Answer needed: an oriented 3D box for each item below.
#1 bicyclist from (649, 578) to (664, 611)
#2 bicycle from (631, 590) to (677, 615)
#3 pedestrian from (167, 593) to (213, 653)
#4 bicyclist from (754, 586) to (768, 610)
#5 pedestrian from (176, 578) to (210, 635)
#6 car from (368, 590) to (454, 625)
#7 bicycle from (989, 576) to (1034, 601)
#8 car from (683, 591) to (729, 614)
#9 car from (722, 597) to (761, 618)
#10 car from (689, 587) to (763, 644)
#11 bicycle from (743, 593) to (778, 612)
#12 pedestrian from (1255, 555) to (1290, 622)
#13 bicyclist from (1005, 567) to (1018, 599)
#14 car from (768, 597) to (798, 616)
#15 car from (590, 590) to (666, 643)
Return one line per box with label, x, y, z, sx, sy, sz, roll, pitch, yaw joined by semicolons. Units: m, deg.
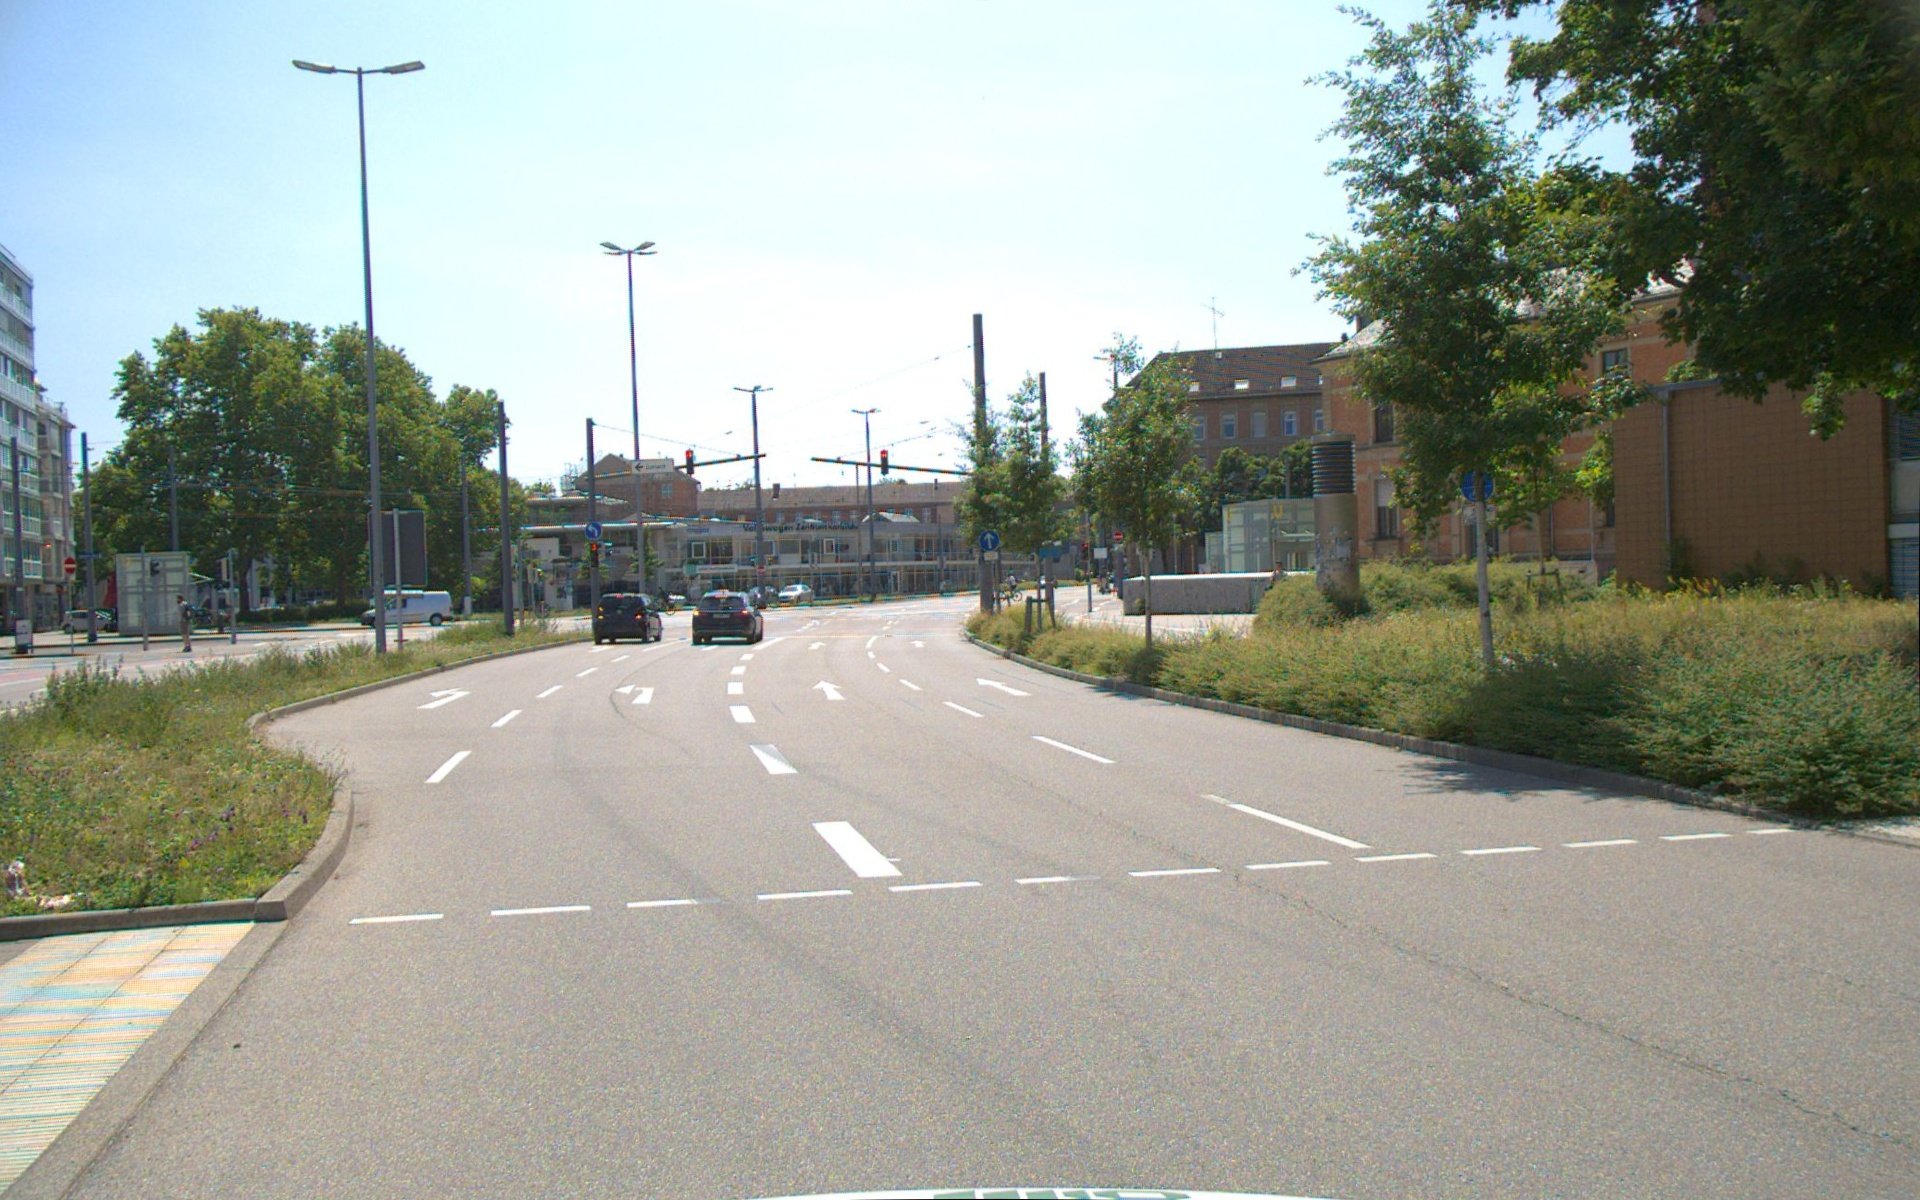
bicyclist;-18.550;-0.328;101.247;0.830;1.999;0.625;-2;2;-10
bicycle;-18.726;0.165;101.226;2.724;1.409;0.669;-2;2;-10
pedestrian;-26.374;0.766;56.645;1.157;1.966;0.901;-1;2;-9
bicyclist;-12.810;-0.142;106.319;0.721;1.505;0.652;-2;2;-21
pedestrian;-41.223;0.351;88.945;1.190;2.988;1.335;-1;2;-5
car;-29.454;0.385;88.743;4.247;1.655;1.803;-2;3;-22
bicycle;3.285;-0.714;105.109;2.770;1.488;0.633;-1;2;-4
car;-17.388;0.166;113.409;1.585;1.414;4.128;-2;1;15
car;-15.608;0.524;118.397;1.505;1.300;3.542;0;3;15
car;-6.946;0.425;49.444;1.682;1.584;4.585;-2;1;-2
bicycle;-12.827;0.164;106.313;2.129;1.126;0.454;-2;3;-20
pedestrian;8.228;-0.299;43.583;0.717;1.735;0.810;-1;1;-1
bicyclist;3.270;-1.102;105.090;0.748;1.971;0.659;-1;2;-4
car;-13.599;0.479;127.458;1.401;1.307;3.265;-1;3;10
car;-10.063;0.483;50.342;1.588;1.489;3.998;-2;1;-2
